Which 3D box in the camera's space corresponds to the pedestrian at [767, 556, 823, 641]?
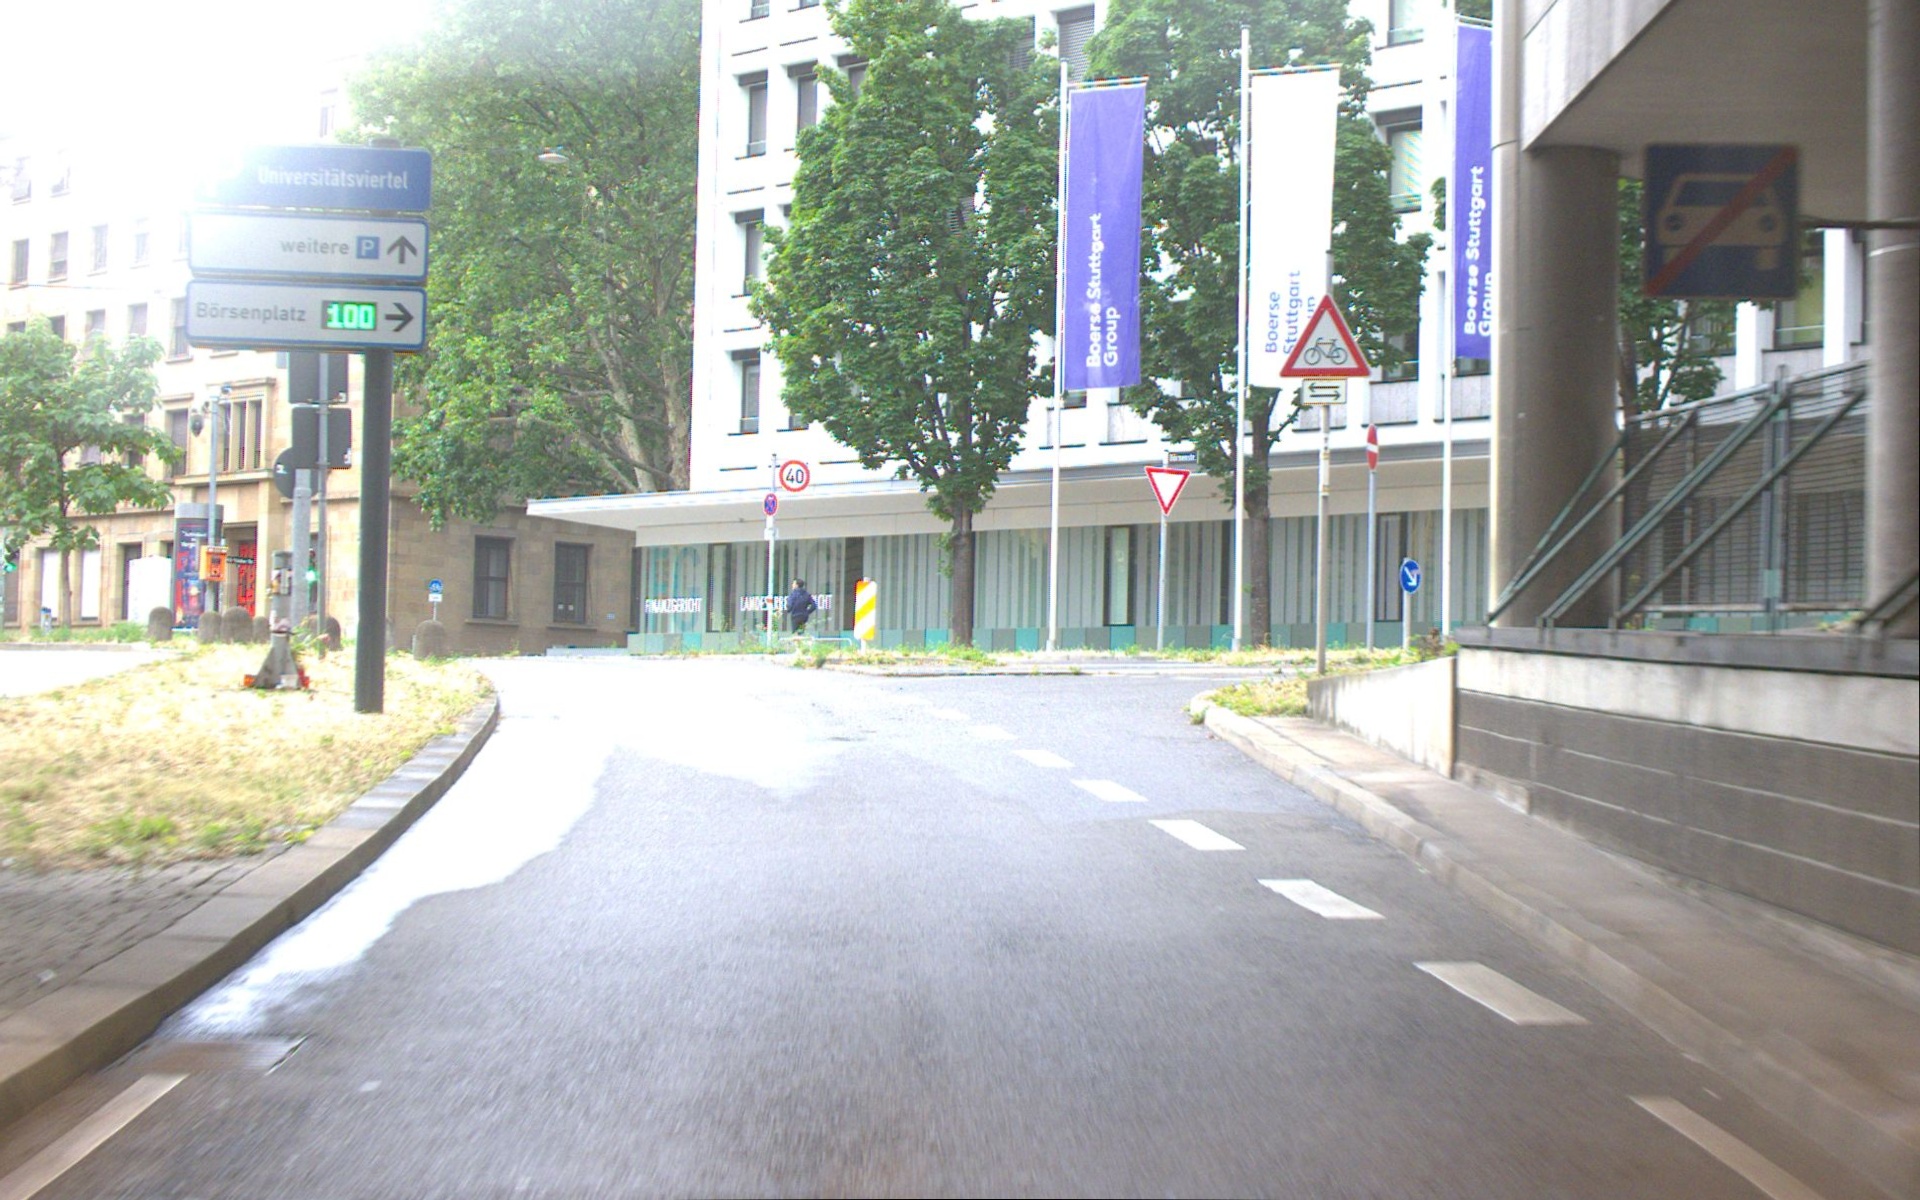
[{"bbox_3d":[-3.502,-0.023,72.975,0.779,1.766,0.862,3,-2,-35],"label":"pedestrian"}]
